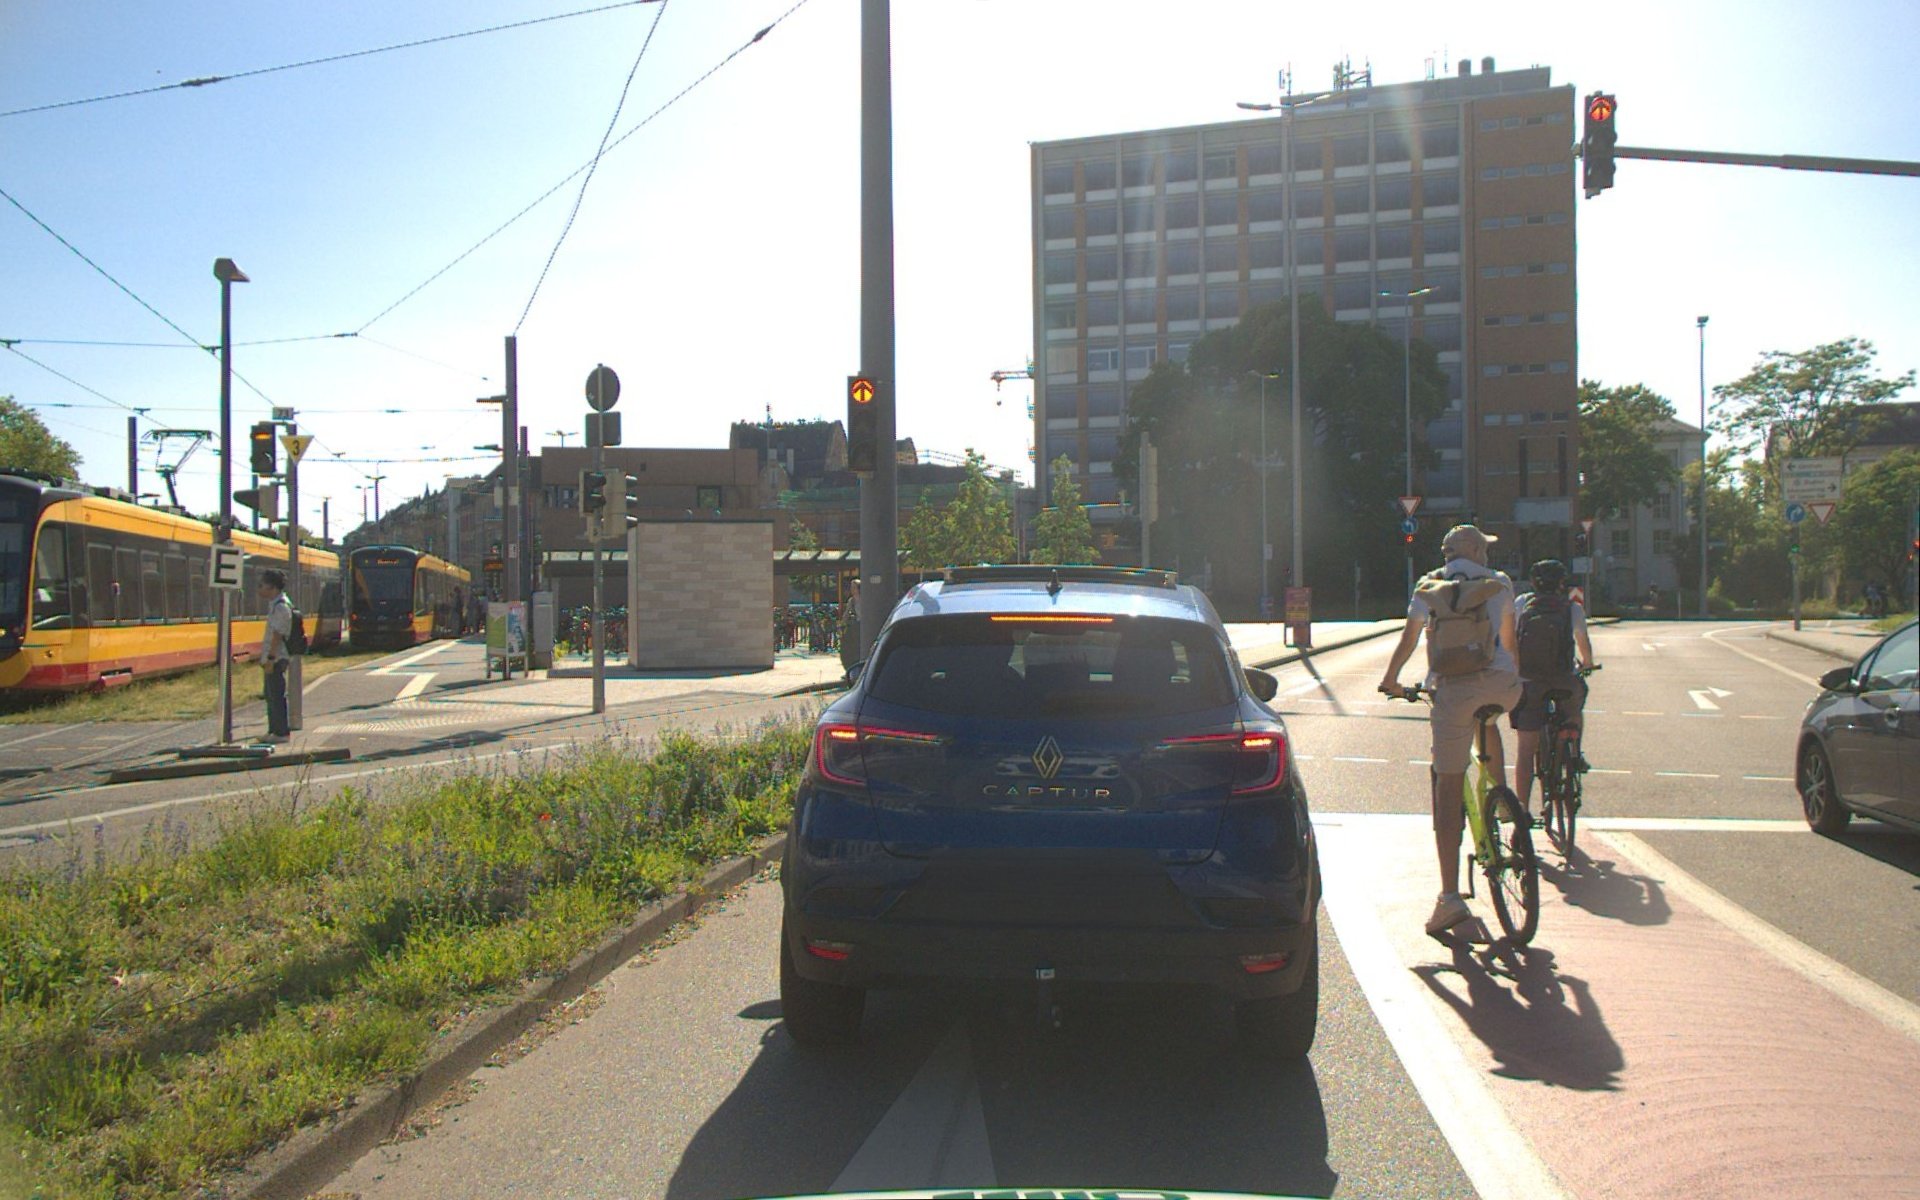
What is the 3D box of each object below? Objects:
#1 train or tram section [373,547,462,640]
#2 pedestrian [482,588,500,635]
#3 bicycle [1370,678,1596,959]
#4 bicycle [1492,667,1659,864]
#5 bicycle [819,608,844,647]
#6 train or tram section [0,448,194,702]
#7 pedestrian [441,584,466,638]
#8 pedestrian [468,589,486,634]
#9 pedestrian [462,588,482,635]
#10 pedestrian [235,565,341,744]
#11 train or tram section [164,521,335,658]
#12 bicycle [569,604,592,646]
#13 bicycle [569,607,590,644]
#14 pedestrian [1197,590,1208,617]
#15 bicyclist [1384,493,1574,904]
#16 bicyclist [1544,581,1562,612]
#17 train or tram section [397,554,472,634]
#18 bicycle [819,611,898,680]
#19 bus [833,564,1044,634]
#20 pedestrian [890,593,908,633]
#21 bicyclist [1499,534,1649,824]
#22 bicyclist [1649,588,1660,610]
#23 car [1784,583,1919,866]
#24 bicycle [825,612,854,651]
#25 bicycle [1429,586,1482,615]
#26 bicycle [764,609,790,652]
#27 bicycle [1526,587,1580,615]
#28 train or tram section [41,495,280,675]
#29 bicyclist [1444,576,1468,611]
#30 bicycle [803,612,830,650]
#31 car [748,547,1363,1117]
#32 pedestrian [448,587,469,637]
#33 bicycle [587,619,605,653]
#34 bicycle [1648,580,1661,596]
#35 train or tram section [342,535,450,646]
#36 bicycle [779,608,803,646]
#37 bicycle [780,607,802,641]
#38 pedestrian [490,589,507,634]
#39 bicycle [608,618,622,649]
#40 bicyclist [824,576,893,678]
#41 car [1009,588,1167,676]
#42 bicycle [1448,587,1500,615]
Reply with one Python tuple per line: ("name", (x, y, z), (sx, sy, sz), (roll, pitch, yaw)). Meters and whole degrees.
("train or tram section", (-22.462, -0.245, 68.968), (2.823, 3.569, 10.502), (0, 0, -14))
("pedestrian", (-18.873, 0.467, 66.523), (0.623, 1.889, 0.699), (1, -1, -20))
("bicycle", (2.399, 0.948, 7.792), (0.648, 1.065, 1.891), (0, 0, 6))
("bicycle", (3.686, 0.945, 10.034), (0.707, 0.976, 1.885), (1, 0, 13))
("bicycle", (-3.784, 0.806, 48.693), (0.570, 1.107, 2.054), (1, -1, -9))
("train or tram section", (-15.575, -0.327, 28.131), (2.771, 3.569, 10.437), (-1, 0, -15))
("pedestrian", (-18.376, 0.407, 60.045), (0.833, 1.916, 0.757), (1, -1, -16))
("pedestrian", (-20.798, 0.498, 71.194), (0.620, 1.889, 0.701), (1, -1, -9))
("pedestrian", (-19.734, 0.469, 66.855), (0.661, 1.889, 0.701), (1, -1, -9))
("pedestrian", (-7.230, 0.581, 17.795), (1.003, 1.864, 0.754), (1, -2, -25))
("train or tram section", (-20.704, -0.268, 48.891), (2.768, 3.569, 11.170), (0, 0, -14))
("bicycle", (-10.486, 0.693, 45.735), (0.556, 1.113, 2.023), (1, -1, -11))
("bicycle", (-11.951, 0.808, 52.020), (0.556, 1.113, 2.023), (1, -1, -11))
("pedestrian", (15.358, 0.245, 104.676), (0.551, 1.699, 0.474), (-1, -2, 36))
("bicyclist", (2.381, 0.425, 7.690), (0.649, 1.778, 1.006), (0, 0, 6))
("bicyclist", (32.934, -0.185, 91.842), (0.841, 1.721, 0.884), (0, -1, 24))
("train or tram section", (-25.022, -0.289, 79.170), (2.823, 3.569, 10.502), (0, 0, -14))
("bicycle", (-1.701, 0.752, 27.979), (0.756, 1.099, 2.037), (-1, -1, 13))
("bus", (-1.303, 0.006, 86.824), (12.212, 3.455, 2.867), (-1, -2, 40))
("pedestrian", (-2.907, 0.602, 78.865), (0.710, 1.889, 0.703), (0, -1, 8))
("bicyclist", (3.694, 0.445, 10.020), (0.706, 1.654, 1.056), (1, 0, 13))
("bicyclist", (46.804, -0.096, 111.501), (0.606, 1.469, 0.818), (-1, 0, 29))
("car", (6.219, 0.687, 9.372), (1.718, 1.568, 3.662), (0, 0, 8))
("bicycle", (-3.136, 0.814, 43.059), (0.570, 0.978, 2.054), (1, -1, -9))
("bicycle", (27.611, 0.032, 92.176), (2.746, 1.568, 0.883), (0, -1, 25))
("bicycle", (-4.729, 0.794, 42.572), (0.570, 1.076, 1.812), (1, -1, -9))
("bicycle", (32.935, 0.058, 91.854), (2.746, 1.568, 0.883), (0, -1, 25))
("train or tram section", (-18.132, -0.284, 38.330), (2.768, 3.569, 10.573), (0, 0, -14))
("bicyclist", (27.618, -0.339, 92.168), (1.183, 1.930, 0.883), (0, -1, 24))
("bicycle", (-3.735, 0.808, 42.962), (0.570, 0.978, 2.054), (1, -1, -9))
("car", (0.424, 0.663, 6.678), (1.785, 1.628, 3.661), (1, 0, 5))
("pedestrian", (-19.747, 0.478, 65.139), (0.727, 1.951, 0.739), (1, -1, -16))
("bicycle", (-10.445, 1.030, 47.452), (0.415, 0.954, 1.300), (1, 0, -15))
("bicycle", (46.801, -0.813, 111.511), (0.597, 1.112, 1.669), (-1, 0, 29))
("train or tram section", (-19.871, -0.295, 58.824), (2.823, 3.569, 10.502), (0, 0, -14))
("bicycle", (-4.969, 0.797, 48.603), (0.570, 1.107, 2.054), (1, -1, -9))
("bicycle", (-5.742, 0.818, 56.065), (0.570, 1.107, 1.866), (1, -1, -11))
("pedestrian", (-19.809, 0.500, 71.018), (0.621, 1.889, 0.701), (1, -1, -11))
("bicycle", (-10.951, 1.049, 52.466), (0.414, 0.954, 1.375), (1, 0, -12))
("bicyclist", (-1.715, 0.454, 28.021), (0.861, 1.673, 1.061), (-1, -1, 13))
("car", (2.416, 0.542, 30.174), (1.763, 1.417, 4.093), (-1, 1, 21))
("bicycle", (29.336, 0.086, 94.342), (2.746, 1.568, 0.883), (0, -1, 25))
